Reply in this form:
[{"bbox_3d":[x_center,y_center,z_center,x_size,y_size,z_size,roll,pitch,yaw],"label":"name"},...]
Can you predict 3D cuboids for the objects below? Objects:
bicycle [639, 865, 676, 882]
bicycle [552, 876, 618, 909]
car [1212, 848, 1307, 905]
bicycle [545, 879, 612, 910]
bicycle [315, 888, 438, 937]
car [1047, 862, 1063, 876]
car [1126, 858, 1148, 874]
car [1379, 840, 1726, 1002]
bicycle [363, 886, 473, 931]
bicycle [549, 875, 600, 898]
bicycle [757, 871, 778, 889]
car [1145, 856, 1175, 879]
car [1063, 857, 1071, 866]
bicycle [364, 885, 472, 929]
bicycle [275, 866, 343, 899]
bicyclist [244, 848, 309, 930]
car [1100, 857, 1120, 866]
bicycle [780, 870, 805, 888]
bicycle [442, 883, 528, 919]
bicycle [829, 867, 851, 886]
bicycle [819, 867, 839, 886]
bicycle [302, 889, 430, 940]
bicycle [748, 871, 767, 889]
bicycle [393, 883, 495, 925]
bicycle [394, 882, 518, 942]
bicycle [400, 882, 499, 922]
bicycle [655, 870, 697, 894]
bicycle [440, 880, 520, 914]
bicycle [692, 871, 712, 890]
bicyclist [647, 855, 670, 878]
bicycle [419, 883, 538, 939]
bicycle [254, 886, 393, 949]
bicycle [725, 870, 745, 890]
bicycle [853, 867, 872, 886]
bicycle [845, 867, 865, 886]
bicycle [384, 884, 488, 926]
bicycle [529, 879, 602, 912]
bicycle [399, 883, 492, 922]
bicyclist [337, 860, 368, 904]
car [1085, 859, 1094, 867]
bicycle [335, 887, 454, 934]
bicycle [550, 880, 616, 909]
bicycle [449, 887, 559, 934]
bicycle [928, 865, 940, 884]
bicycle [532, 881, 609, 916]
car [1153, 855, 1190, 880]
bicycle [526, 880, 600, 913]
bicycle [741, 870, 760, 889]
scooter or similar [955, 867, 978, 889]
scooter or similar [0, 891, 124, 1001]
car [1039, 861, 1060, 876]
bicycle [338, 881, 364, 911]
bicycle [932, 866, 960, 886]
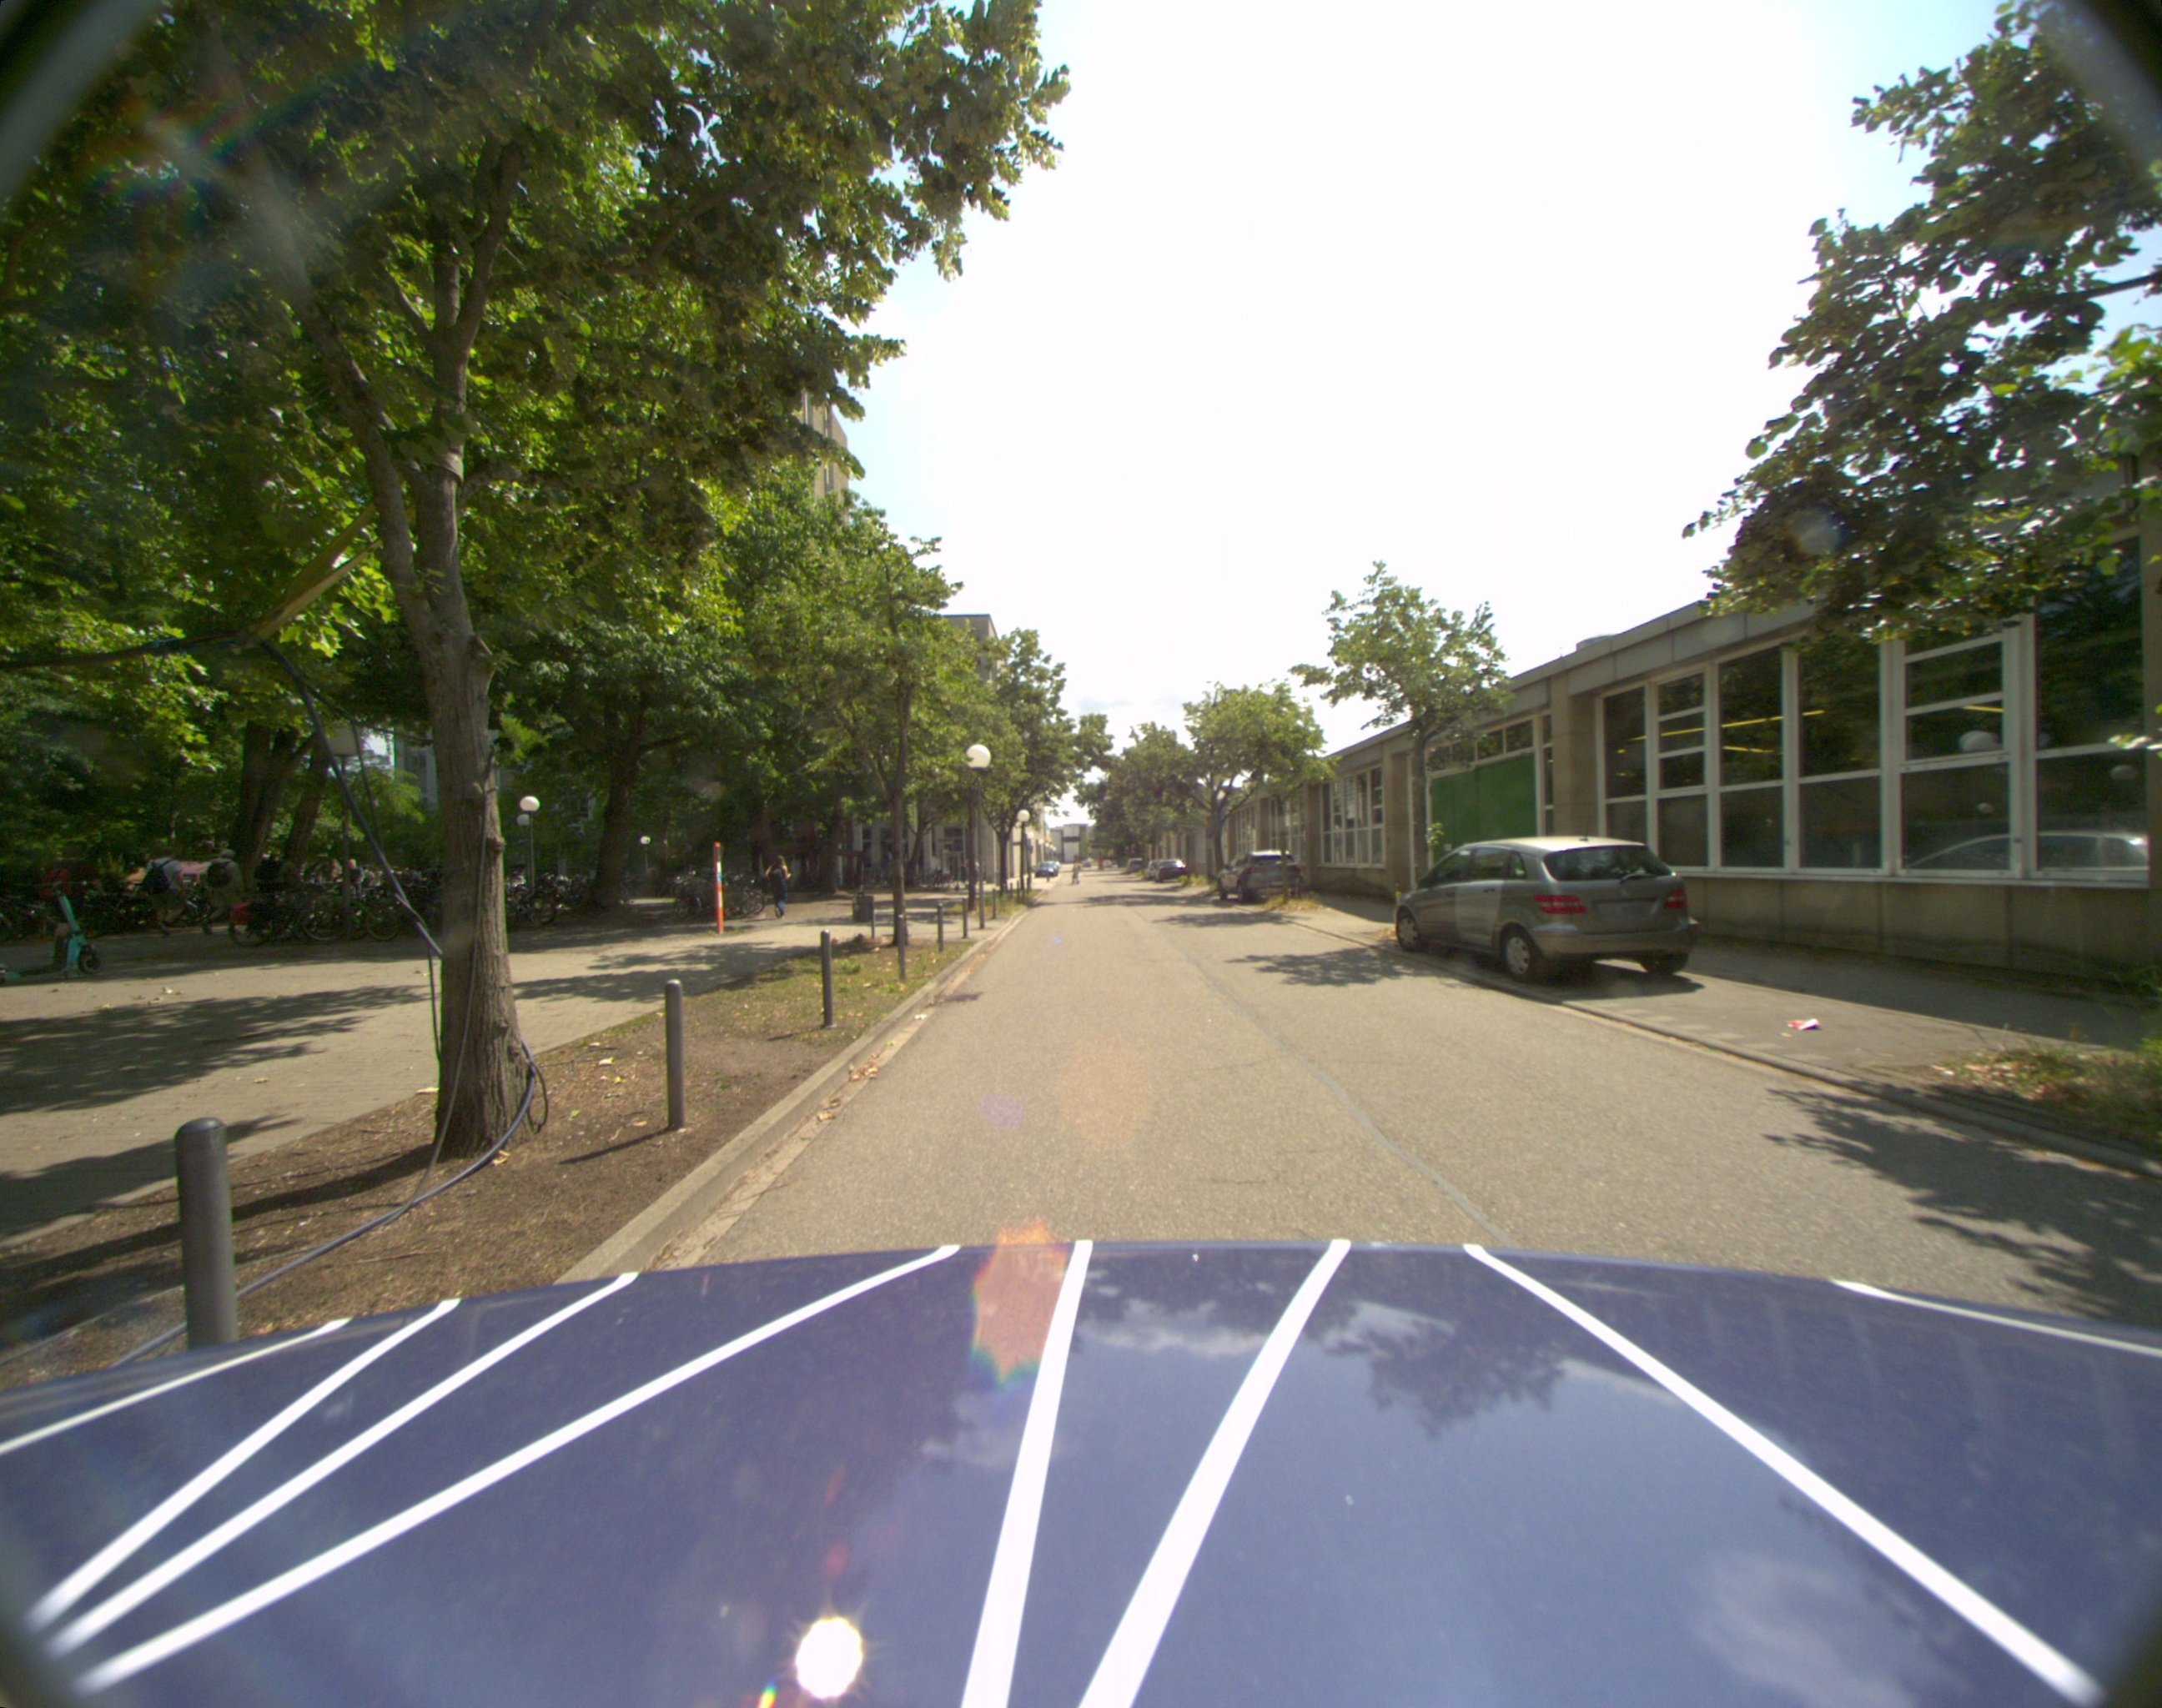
[{"bbox_3d":[-28.441,1.324,51.015,1.930,1.036,0.818,-2,4,0],"label":"bicycle"},{"bbox_3d":[-17.384,1.341,26.631,1.907,1.076,0.477,0,0,-36],"label":"bicycle"},{"bbox_3d":[5.816,0.690,25.307,1.827,1.623,4.516,-3,0,-3],"label":"car"},{"bbox_3d":[-17.194,1.370,26.042,1.907,0.973,0.477,0,0,-30],"label":"bicycle"},{"bbox_3d":[-15.167,1.240,16.416,1.907,0.973,0.420,0,0,-28],"label":"bicycle"},{"bbox_3d":[-3.185,1.832,92.614,1.799,1.691,4.001,1,-1,0],"label":"car"},{"bbox_3d":[5.674,1.152,76.743,1.803,1.440,3.676,-4,0,-1],"label":"car"},{"bbox_3d":[5.613,0.685,9.789,1.762,1.547,4.112,-3,0,-2],"label":"car"},{"bbox_3d":[-15.448,1.259,17.752,1.906,0.973,0.421,0,0,-22],"label":"bicycle"},{"bbox_3d":[-23.139,1.460,34.763,1.907,0.973,0.477,0,0,-38],"label":"bicycle"},{"bbox_3d":[-18.811,1.547,45.599,0.617,1.041,1.688,-4,-1,-5],"label":"bicycle"},{"bbox_3d":[5.625,0.947,54.582,1.634,1.440,3.752,-4,0,-1],"label":"car"},{"bbox_3d":[-3.386,1.831,183.709,1.998,2.001,4.001,1,-1,0],"label":"car"},{"bbox_3d":[-15.775,1.242,18.118,1.906,0.973,0.421,0,0,-22],"label":"bicycle"},{"bbox_3d":[-27.360,0.997,26.952,1.614,1.087,0.477,0,0,-37],"label":"bicycle"},{"bbox_3d":[-17.451,0.743,16.498,0.532,1.719,1.077,0,0,-20],"label":"bicyclist"},{"bbox_3d":[5.529,1.504,146.654,3.674,1.440,1.804,-4,0,-2],"label":"car"},{"bbox_3d":[-17.357,1.496,45.696,0.617,1.041,1.697,-4,-1,8],"label":"bicycle"},{"bbox_3d":[-17.330,1.346,22.152,1.907,0.973,0.477,0,0,-30],"label":"bicycle"},{"bbox_3d":[-14.495,1.362,45.675,0.627,1.118,1.697,0,-2,5],"label":"bicycle"},{"bbox_3d":[-15.205,1.374,45.862,0.627,1.143,1.697,0,-2,2],"label":"bicycle"},{"bbox_3d":[-14.857,1.236,15.836,1.905,0.973,0.478,0,0,-19],"label":"bicycle"},{"bbox_3d":[-19.391,1.566,45.556,0.501,1.041,1.688,-4,-1,-5],"label":"bicycle"},{"bbox_3d":[-16.019,1.242,19.158,1.906,0.973,0.477,0,0,-23],"label":"bicycle"},{"bbox_3d":[-12.520,1.150,15.282,1.811,1.112,0.611,0,0,-22],"label":"bicycle"},{"bbox_3d":[-16.573,1.247,19.990,1.906,0.973,0.611,0,0,-22],"label":"bicycle"},{"bbox_3d":[-20.692,1.441,38.818,1.848,1.163,0.435,-1,0,-35],"label":"bicycle"},{"bbox_3d":[-18.360,1.297,23.260,1.888,0.973,0.305,0,0,-27],"label":"bicycle"},{"bbox_3d":[-22.633,1.587,45.405,0.454,1.123,1.688,-4,-1,-5],"label":"bicycle"},{"bbox_3d":[-28.394,0.840,51.075,0.958,1.533,0.839,1,-3,1],"label":"bicyclist"},{"bbox_3d":[-12.924,1.205,16.368,1.906,1.112,0.611,0,0,-22],"label":"bicycle"},{"bbox_3d":[-14.820,1.229,14.919,1.905,1.136,0.478,0,0,-19],"label":"bicycle"},{"bbox_3d":[-20.839,1.565,45.779,0.454,1.123,1.688,-4,-1,-5],"label":"bicycle"},{"bbox_3d":[-13.151,1.350,45.776,0.481,1.118,1.697,0,-2,5],"label":"bicycle"},{"bbox_3d":[-13.656,1.351,45.936,0.565,1.118,1.697,0,-2,5],"label":"bicycle"},{"bbox_3d":[-15.914,1.242,18.795,1.906,0.973,0.477,0,0,-23],"label":"bicycle"},{"bbox_3d":[-16.753,1.335,24.727,1.908,0.973,0.477,0,0,-41],"label":"bicycle"},{"bbox_3d":[-17.311,1.298,20.754,1.907,0.973,0.535,0,0,-34],"label":"bicycle"},{"bbox_3d":[-24.732,0.947,25.813,0.746,1.438,0.801,-1,-1,-43],"label":"bicyclist"},{"bbox_3d":[1.949,1.961,166.872,1.803,1.440,3.676,-4,0,-1],"label":"car"},{"bbox_3d":[-15.354,1.247,17.045,1.906,0.973,0.477,0,0,-25],"label":"bicycle"},{"bbox_3d":[-17.834,1.434,27.235,1.908,0.973,0.477,0,0,-39],"label":"bicycle"},{"bbox_3d":[-13.273,1.282,17.534,1.906,0.973,0.611,0,0,-22],"label":"bicycle"},{"bbox_3d":[-10.392,1.445,53.813,0.531,1.235,1.829,-1,1,-1],"label":"bicycle"},{"bbox_3d":[-15.686,1.340,23.390,0.477,0.973,1.908,0,0,42],"label":"bicycle"},{"bbox_3d":[5.801,0.890,48.916,1.730,1.426,4.290,-3,-1,-1],"label":"car"},{"bbox_3d":[-16.499,1.349,24.251,1.908,0.973,0.477,0,0,-41],"label":"bicycle"},{"bbox_3d":[-19.995,1.526,45.997,0.454,1.123,1.688,-4,-1,-5],"label":"bicycle"},{"bbox_3d":[-6.023,1.265,39.979,0.496,1.107,1.365,-1,-2,25],"label":"scooter or similar"},{"bbox_3d":[-12.830,1.107,9.346,0.425,1.212,1.294,-1,1,1],"label":"scooter or similar"},{"bbox_3d":[-2.983,1.362,72.042,1.843,1.389,3.878,0,-1,0],"label":"car"},{"bbox_3d":[-24.784,1.418,25.806,0.588,0.926,1.747,2,-1,-43],"label":"bicycle"},{"bbox_3d":[-7.984,1.314,44.978,0.604,1.134,1.790,1,1,33],"label":"bicycle"}]
